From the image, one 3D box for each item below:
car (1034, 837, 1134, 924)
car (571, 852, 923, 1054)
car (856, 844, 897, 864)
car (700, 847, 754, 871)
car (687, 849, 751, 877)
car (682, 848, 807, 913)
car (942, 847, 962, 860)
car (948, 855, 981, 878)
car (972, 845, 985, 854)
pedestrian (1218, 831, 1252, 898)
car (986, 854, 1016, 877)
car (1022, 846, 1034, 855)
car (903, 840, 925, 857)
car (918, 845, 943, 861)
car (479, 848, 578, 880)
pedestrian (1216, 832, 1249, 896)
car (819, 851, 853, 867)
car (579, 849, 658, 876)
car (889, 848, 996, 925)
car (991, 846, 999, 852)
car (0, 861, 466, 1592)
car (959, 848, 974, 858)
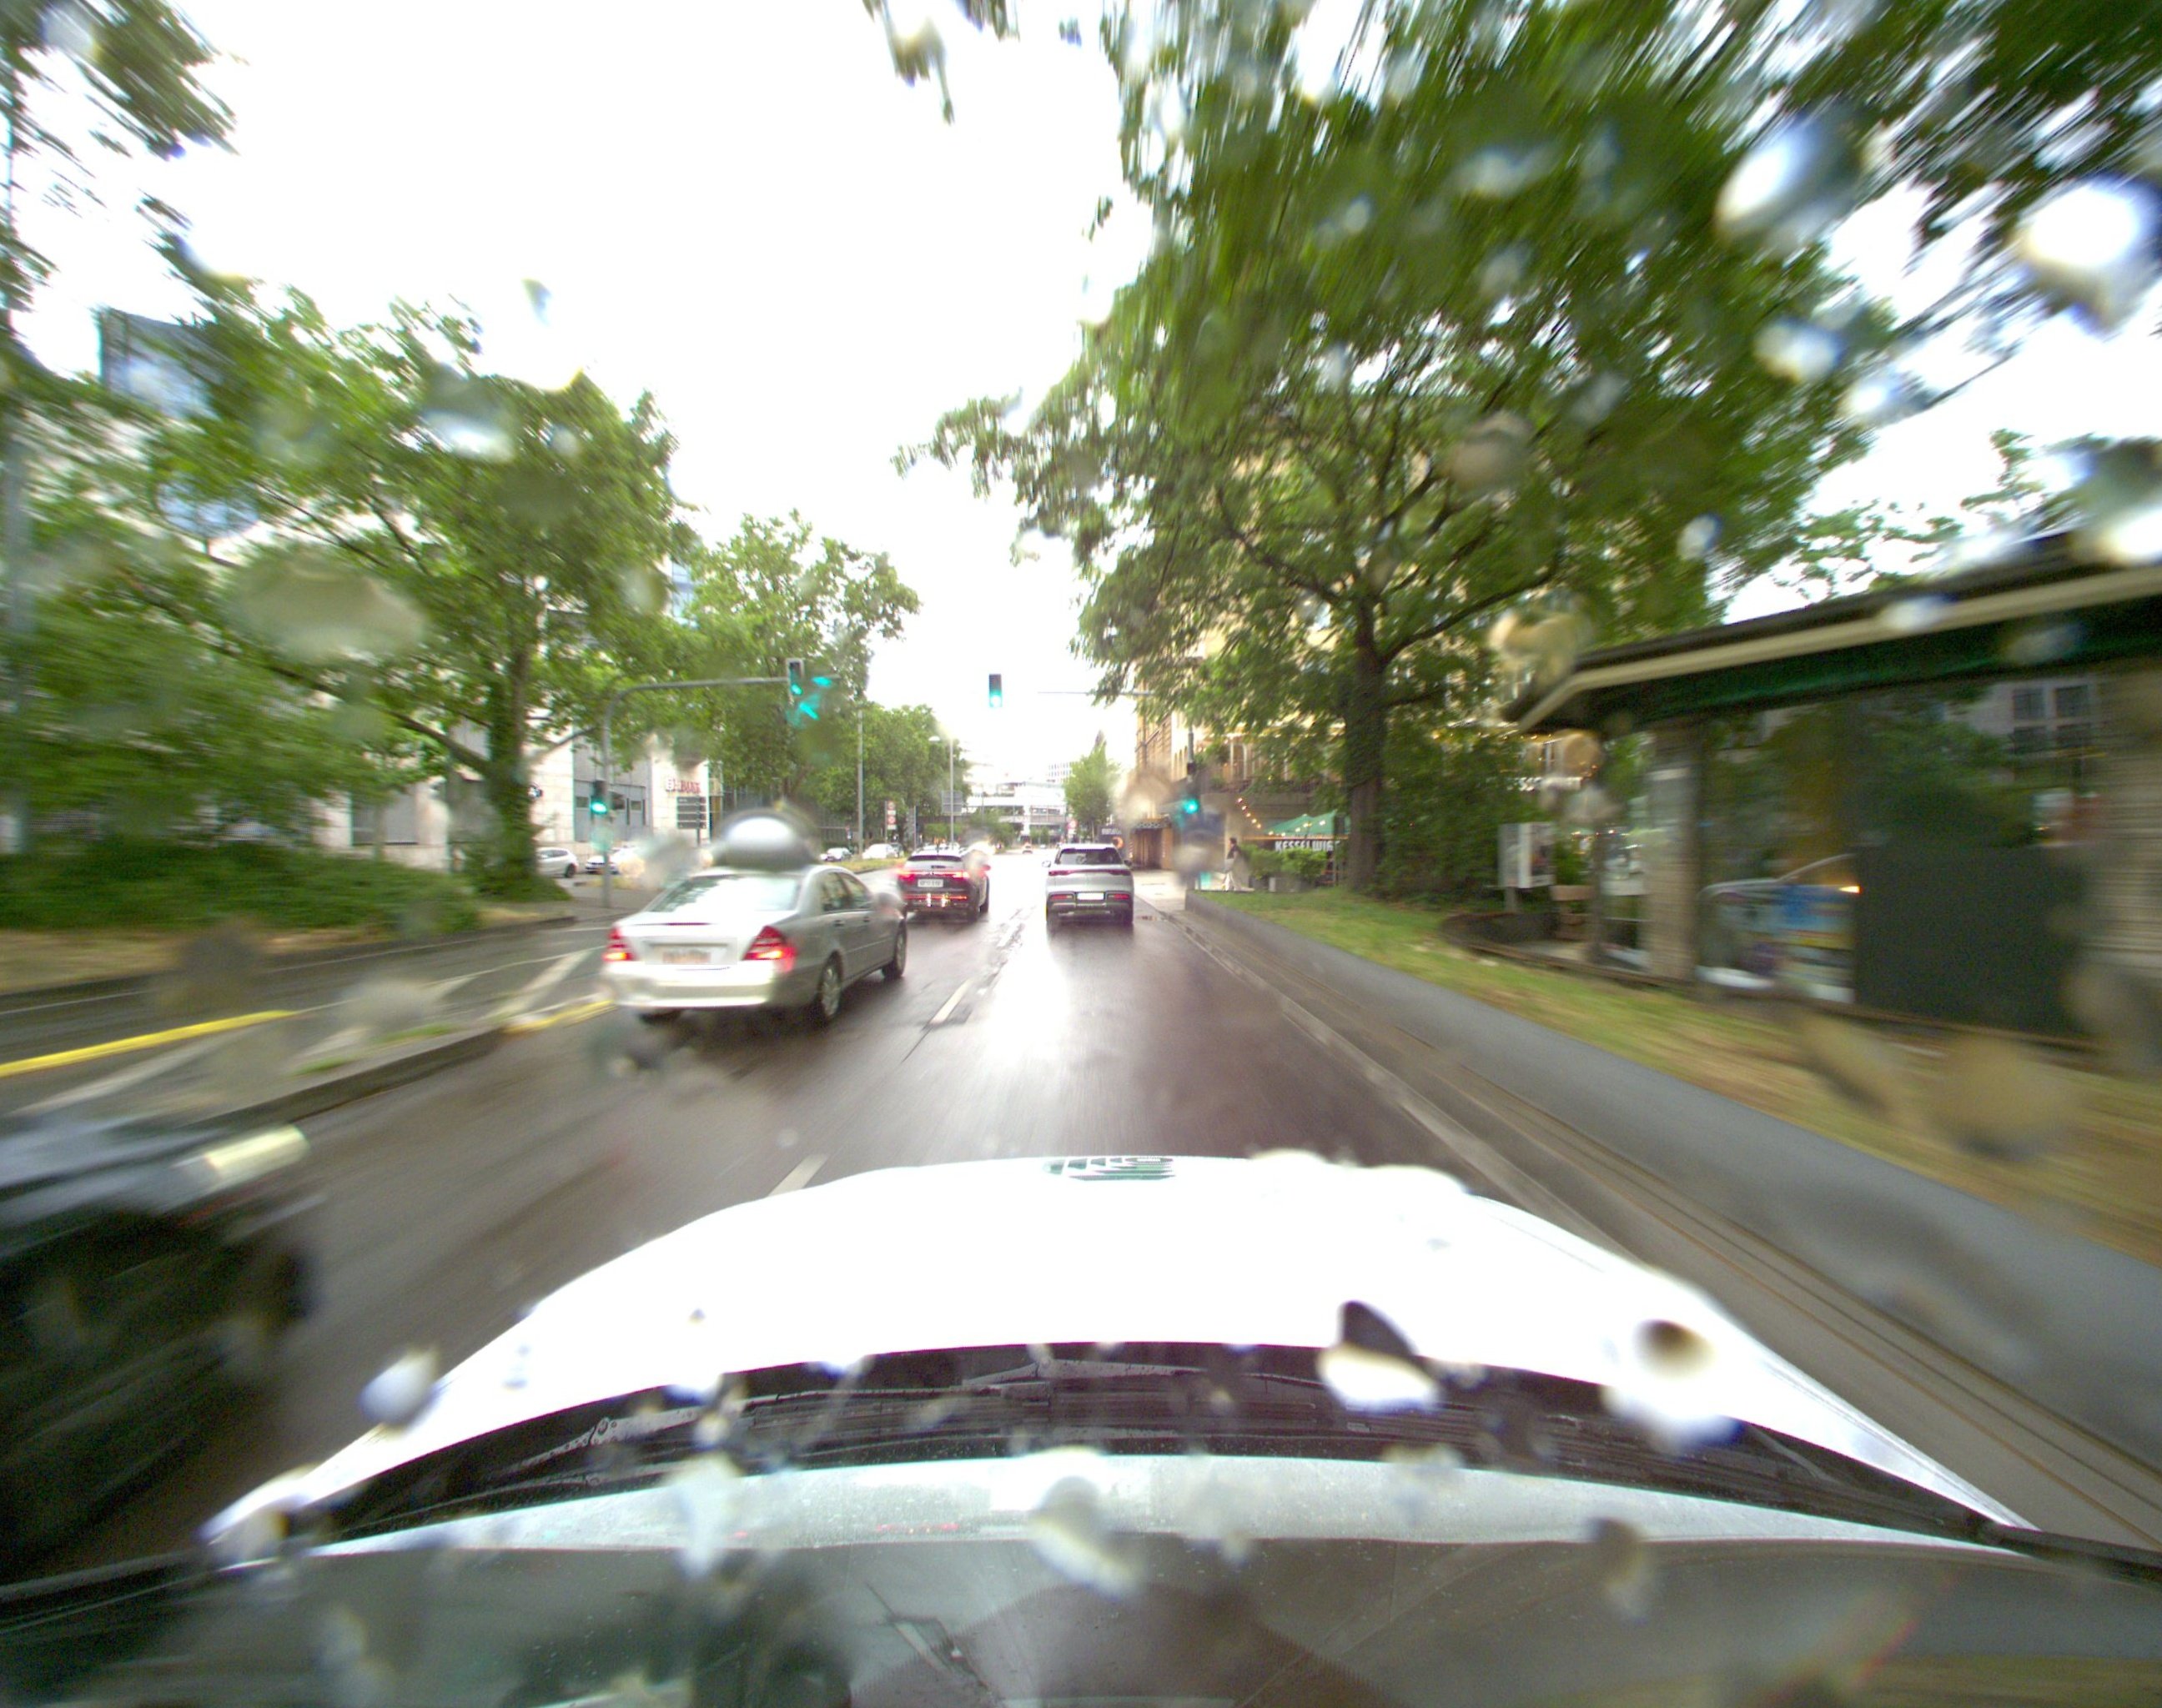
[{"bbox_3d":[0.122,0.502,18.041,1.939,1.666,4.347,1,0,2],"label":"car"},{"bbox_3d":[-2.993,0.760,8.430,1.685,1.463,4.347,-2,0,2],"label":"car"},{"bbox_3d":[-16.215,-0.029,64.762,2.153,1.463,4.343,-2,0,-1],"label":"car"},{"bbox_3d":[-25.295,0.323,58.384,1.680,1.642,4.246,0,0,6],"label":"car"},{"bbox_3d":[-21.607,0.483,48.807,1.789,1.510,4.498,-2,0,-1],"label":"car"},{"bbox_3d":[-9.224,0.656,22.699,1.693,1.619,4.002,-1,1,2],"label":"car"},{"bbox_3d":[-16.352,-0.121,103.239,1.789,1.510,4.498,-2,0,-1],"label":"car"},{"bbox_3d":[-8.030,0.821,56.643,1.686,1.463,4.343,-2,0,-1],"label":"car"},{"bbox_3d":[-18.504,-0.789,146.565,1.789,1.510,4.343,-2,0,-1],"label":"car"},{"bbox_3d":[4.198,0.285,22.251,0.855,1.780,0.718,0,0,4],"label":"pedestrian"},{"bbox_3d":[-5.515,0.757,56.854,1.686,1.463,4.343,-2,0,-1],"label":"car"},{"bbox_3d":[-9.253,-0.549,142.734,1.973,1.463,4.343,-2,0,-2],"label":"car"},{"bbox_3d":[-20.491,-0.666,99.820,1.789,1.909,4.498,-2,0,-1],"label":"car"},{"bbox_3d":[-15.726,-0.122,85.463,1.789,1.510,4.498,-2,0,-1],"label":"car"},{"bbox_3d":[-25.841,0.449,38.257,1.541,1.403,4.009,0,0,8],"label":"car"},{"bbox_3d":[4.276,0.285,23.019,0.855,1.780,0.718,0,0,4],"label":"pedestrian"},{"bbox_3d":[-22.288,0.438,74.265,1.843,1.366,4.237,0,0,-1],"label":"car"},{"bbox_3d":[-25.487,0.446,45.052,1.680,1.403,4.246,0,0,6],"label":"car"},{"bbox_3d":[-2.934,0.621,18.109,1.686,1.463,4.343,-1,0,-1],"label":"car"},{"bbox_3d":[-24.596,-1.456,232.935,1.789,1.510,4.343,-2,0,-1],"label":"car"},{"bbox_3d":[-3.084,0.805,0.797,1.685,1.463,4.131,-2,0,2],"label":"car"},{"bbox_3d":[-17.583,-0.129,125.421,1.789,1.510,4.343,-2,0,-1],"label":"car"}]
